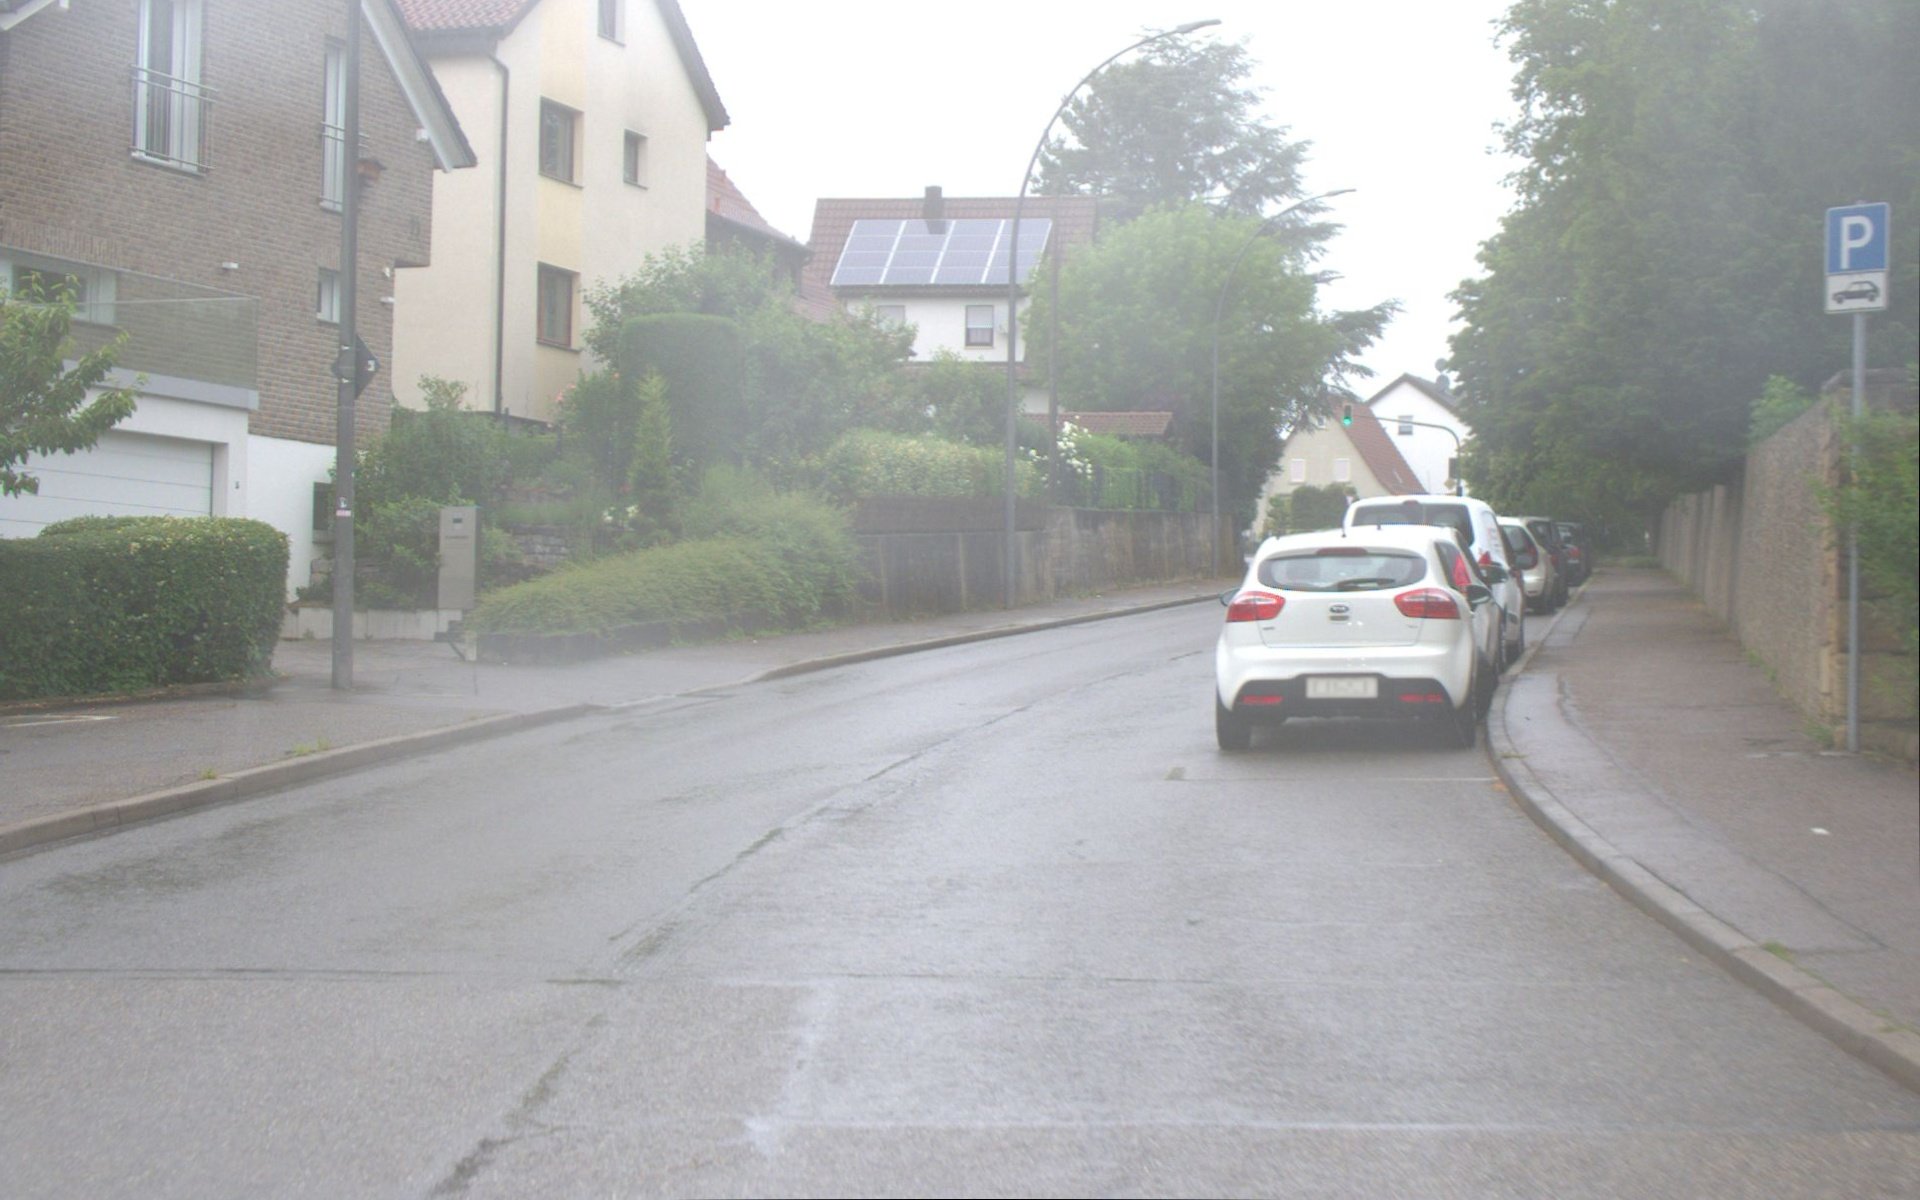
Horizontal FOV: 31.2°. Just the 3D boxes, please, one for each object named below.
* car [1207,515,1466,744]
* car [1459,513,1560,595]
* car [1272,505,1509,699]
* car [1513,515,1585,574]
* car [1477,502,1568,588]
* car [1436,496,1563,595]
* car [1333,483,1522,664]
[{"bbox_3d":[2.742,0.144,24.403,1.612,1.475,4.037,1,1,9],"label":"car"},{"bbox_3d":[10.014,-0.831,62.695,1.765,1.442,4.695,0,1,9],"label":"car"},{"bbox_3d":[3.726,-0.041,29.269,1.646,1.457,3.999,1,2,12],"label":"car"},{"bbox_3d":[14.069,-1.336,82.256,1.652,1.367,4.180,0,1,9],"label":"car"},{"bbox_3d":[11.265,-1.090,68.875,1.742,1.662,4.496,0,1,9],"label":"car"},{"bbox_3d":[8.917,-0.893,56.610,1.816,1.568,3.878,0,1,13],"label":"car"},{"bbox_3d":[4.831,-0.294,35.133,1.638,1.735,4.134,0,1,12],"label":"car"}]
